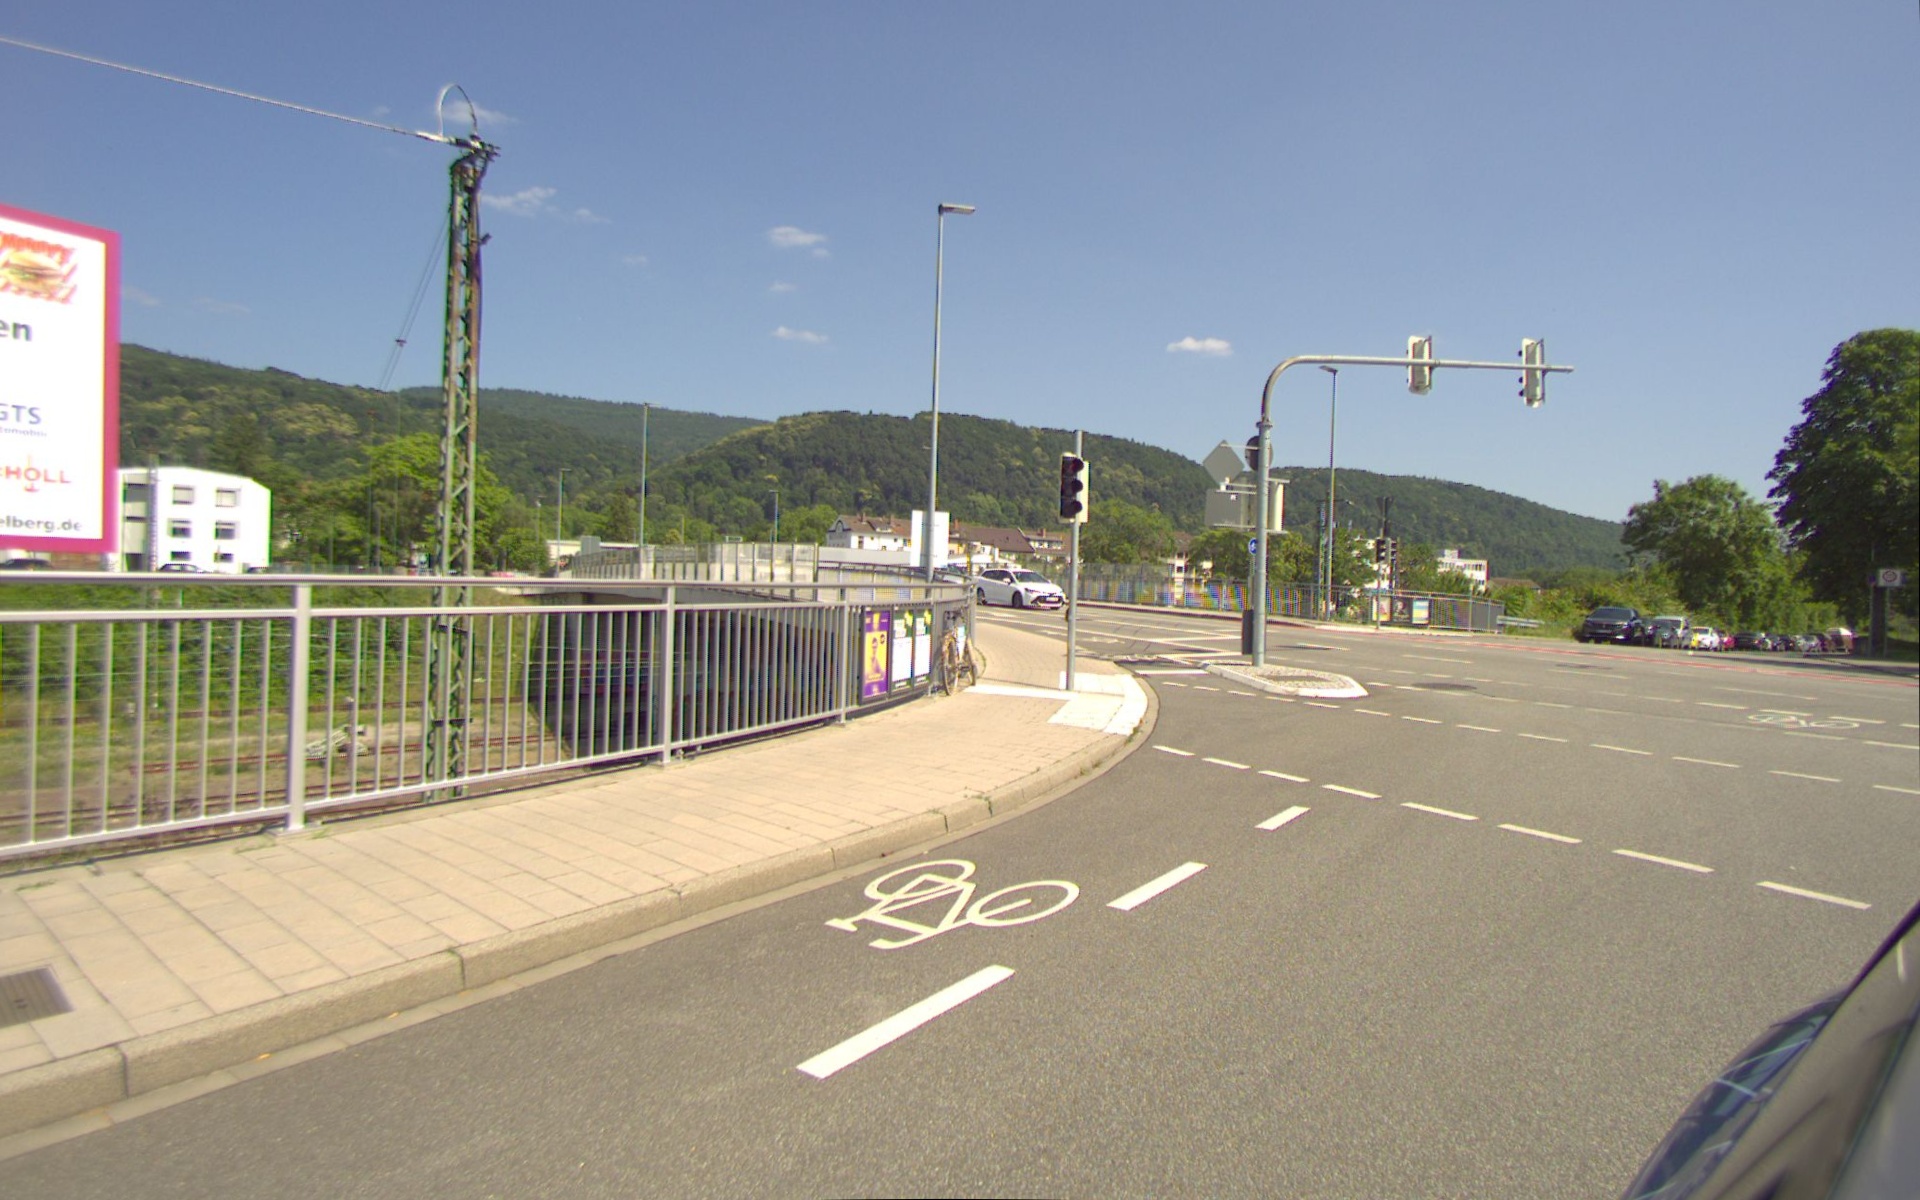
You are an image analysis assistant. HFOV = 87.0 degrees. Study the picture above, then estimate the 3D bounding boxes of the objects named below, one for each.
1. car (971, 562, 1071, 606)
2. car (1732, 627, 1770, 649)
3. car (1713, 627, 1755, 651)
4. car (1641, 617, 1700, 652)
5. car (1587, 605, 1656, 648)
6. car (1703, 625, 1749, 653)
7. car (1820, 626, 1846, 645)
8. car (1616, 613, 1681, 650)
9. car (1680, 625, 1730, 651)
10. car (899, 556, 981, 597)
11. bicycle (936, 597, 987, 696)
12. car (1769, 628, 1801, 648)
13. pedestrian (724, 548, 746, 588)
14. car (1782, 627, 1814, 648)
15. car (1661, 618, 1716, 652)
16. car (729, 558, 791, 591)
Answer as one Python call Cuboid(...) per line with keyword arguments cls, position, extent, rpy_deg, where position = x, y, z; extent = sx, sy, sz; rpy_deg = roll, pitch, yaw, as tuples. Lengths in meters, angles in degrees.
Cuboid(cls="car", position=(2.147, -0.609, 37.003), extent=(1.701, 1.488, 4.419), rpy_deg=(1, 1, -26))
Cuboid(cls="car", position=(58.696, 2.814, 75.076), extent=(3.934, 1.453, 1.669), rpy_deg=(1, 1, -45))
Cuboid(cls="car", position=(51.570, 2.588, 67.419), extent=(3.934, 1.453, 1.669), rpy_deg=(1, 1, -45))
Cuboid(cls="car", position=(34.846, 1.651, 49.622), extent=(3.934, 1.552, 1.669), rpy_deg=(1, 1, -45))
Cuboid(cls="car", position=(27.866, 1.064, 42.581), extent=(1.824, 1.647, 4.173), rpy_deg=(2, 1, 41))
Cuboid(cls="car", position=(46.887, 2.367, 61.923), extent=(3.934, 1.552, 1.669), rpy_deg=(1, 1, -45))
Cuboid(cls="car", position=(83.868, 3.423, 97.204), extent=(1.667, 1.751, 3.937), rpy_deg=(-3, -2, 44))
Cuboid(cls="car", position=(31.498, 1.398, 46.266), extent=(3.934, 1.552, 1.669), rpy_deg=(1, 1, -45))
Cuboid(cls="car", position=(42.365, 2.126, 57.506), extent=(3.934, 1.333, 1.669), rpy_deg=(1, 1, -45))
Cuboid(cls="car", position=(-0.903, -1.017, 43.125), extent=(1.701, 1.646, 4.450), rpy_deg=(1, 1, -27))
Cuboid(cls="bicycle", position=(0.043, 0.537, 12.517), extent=(0.293, 1.114, 1.615), rpy_deg=(2, 1, 11))
Cuboid(cls="car", position=(66.722, 3.057, 81.834), extent=(1.667, 1.552, 3.937), rpy_deg=(-3, -2, 44))
Cuboid(cls="pedestrian", position=(-9.225, -1.310, 41.493), extent=(0.632, 1.638, 0.922), rpy_deg=(1, 1, -29))
Cuboid(cls="car", position=(71.414, 3.165, 86.197), extent=(3.934, 1.552, 1.669), rpy_deg=(1, 1, -45))
Cuboid(cls="car", position=(38.471, 1.815, 53.404), extent=(3.934, 1.655, 1.669), rpy_deg=(1, 1, -45))
Cuboid(cls="car", position=(-11.234, -1.436, 56.672), extent=(1.960, 1.740, 4.639), rpy_deg=(1, 1, -30))
